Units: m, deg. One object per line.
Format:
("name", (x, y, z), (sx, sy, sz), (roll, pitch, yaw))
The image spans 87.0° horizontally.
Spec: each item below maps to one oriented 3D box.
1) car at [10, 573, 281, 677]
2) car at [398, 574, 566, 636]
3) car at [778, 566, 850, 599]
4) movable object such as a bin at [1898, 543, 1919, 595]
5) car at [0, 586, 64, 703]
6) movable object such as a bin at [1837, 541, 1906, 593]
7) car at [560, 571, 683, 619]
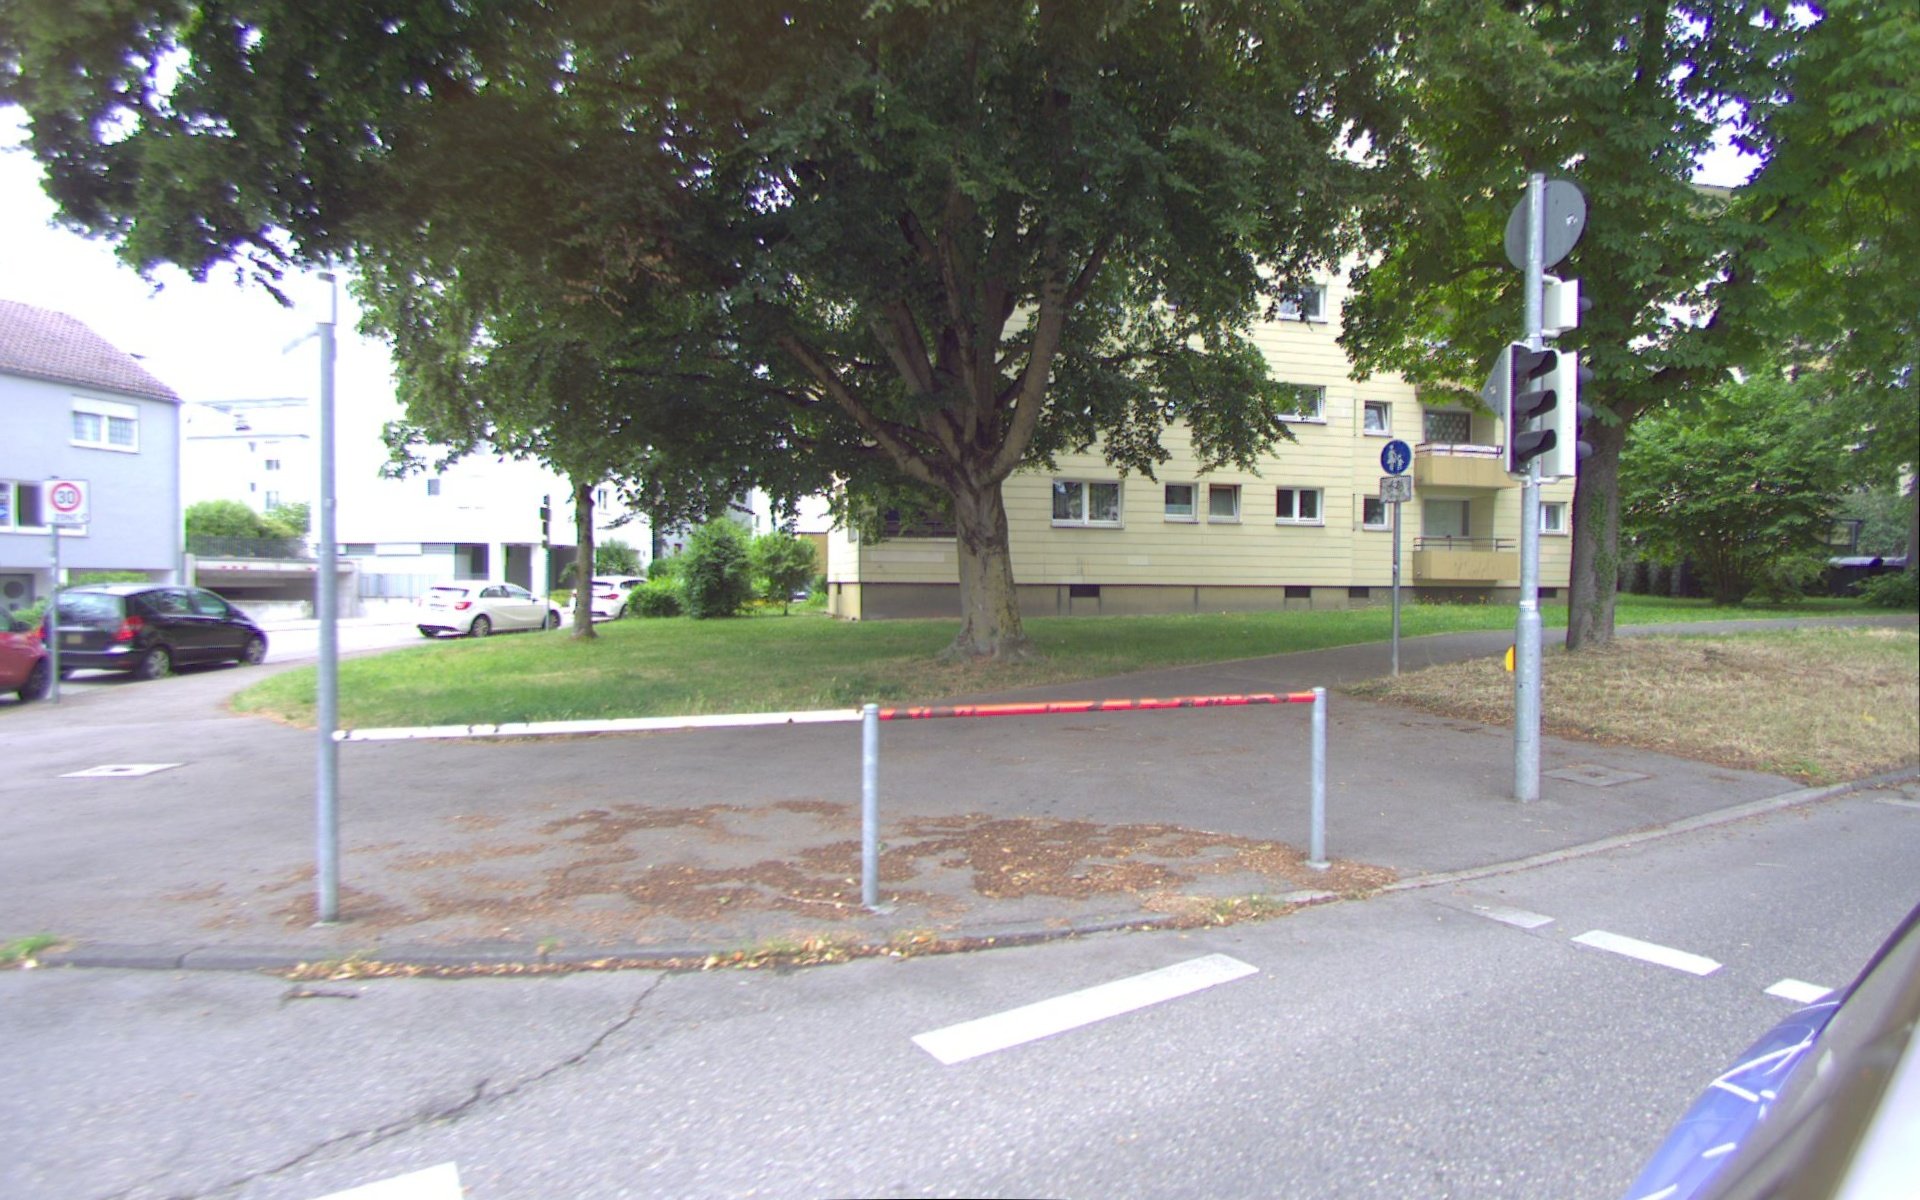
("car", (-14.209, 0.371, 17.983), (1.783, 1.611, 3.827), (-1, 1, -1))
("car", (-12.583, 0.065, 26.938), (1.771, 1.451, 4.051), (1, 3, 17))
("car", (-6.745, -0.843, 47.226), (1.771, 1.429, 4.051), (1, 3, 17))
("movable object such as a bin", (31.276, -1.001, 32.602), (1.000, 1.661, 1.280), (-2, 4, -30))
("car", (-13.383, 0.572, 13.179), (1.660, 1.525, 2.927), (0, 0, -21))
("movable object such as a bin", (30.496, -1.128, 33.880), (1.000, 1.661, 1.438), (-2, 4, -30))
("car", (-10.889, -0.206, 32.885), (1.771, 1.371, 4.051), (1, 3, 17))
